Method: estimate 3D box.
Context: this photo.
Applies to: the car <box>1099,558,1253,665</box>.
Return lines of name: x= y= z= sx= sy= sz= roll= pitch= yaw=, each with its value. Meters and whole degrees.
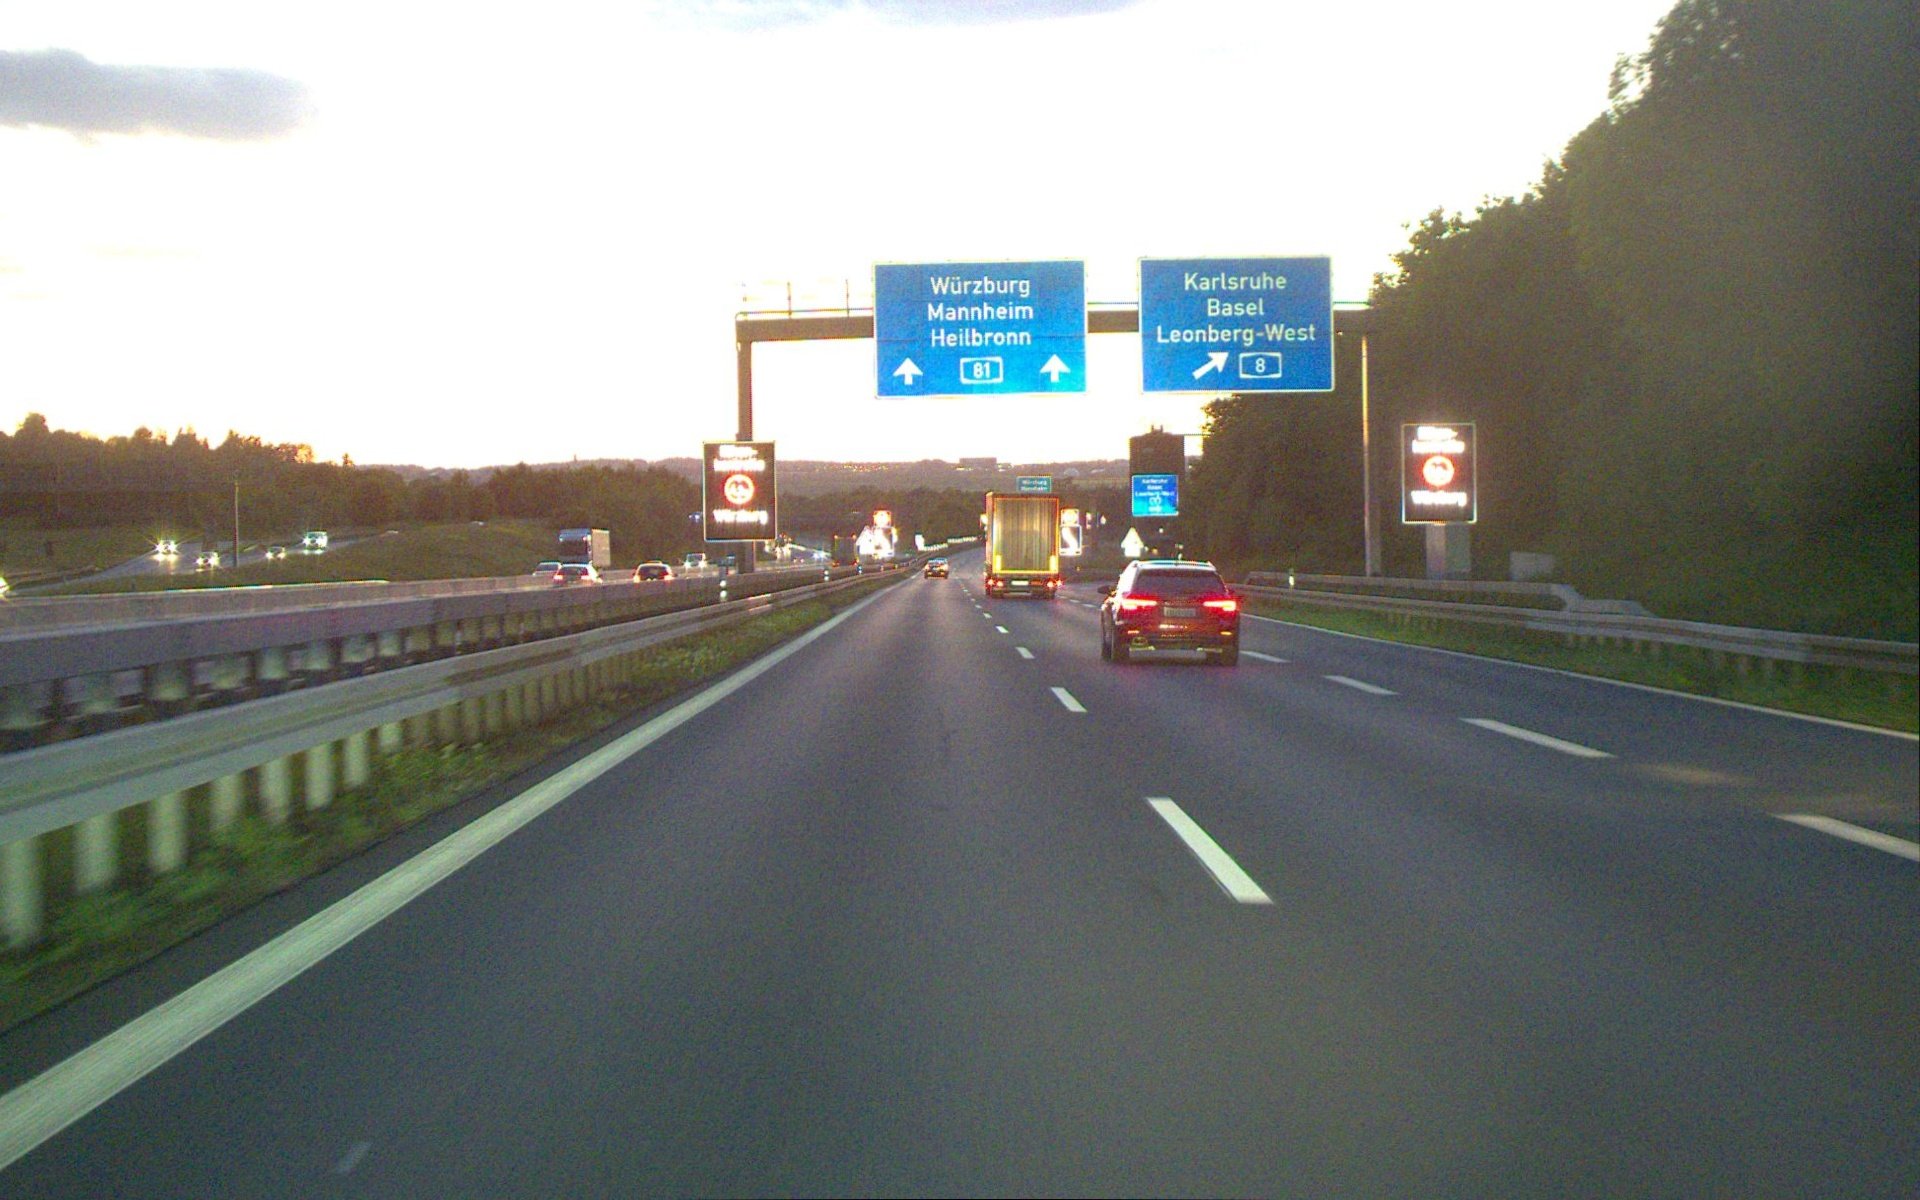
car: x=3.055 y=0.142 z=49.282 sx=1.915 sy=1.437 sz=4.000 roll=-1 pitch=0 yaw=0

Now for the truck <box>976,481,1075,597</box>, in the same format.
truck: x=2.474 y=-2.311 z=133.656 sx=3.509 sy=4.286 sz=9.891 roll=-1 pitch=0 yaw=-1

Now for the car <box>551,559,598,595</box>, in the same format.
car: x=-16.725 y=-0.998 z=149.231 sx=1.638 sy=1.541 sz=3.395 roll=-1 pitch=0 yaw=0

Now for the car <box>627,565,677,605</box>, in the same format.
car: x=-12.765 y=-0.636 z=142.652 sx=1.713 sy=1.600 sz=3.722 roll=-1 pitch=0 yaw=0
